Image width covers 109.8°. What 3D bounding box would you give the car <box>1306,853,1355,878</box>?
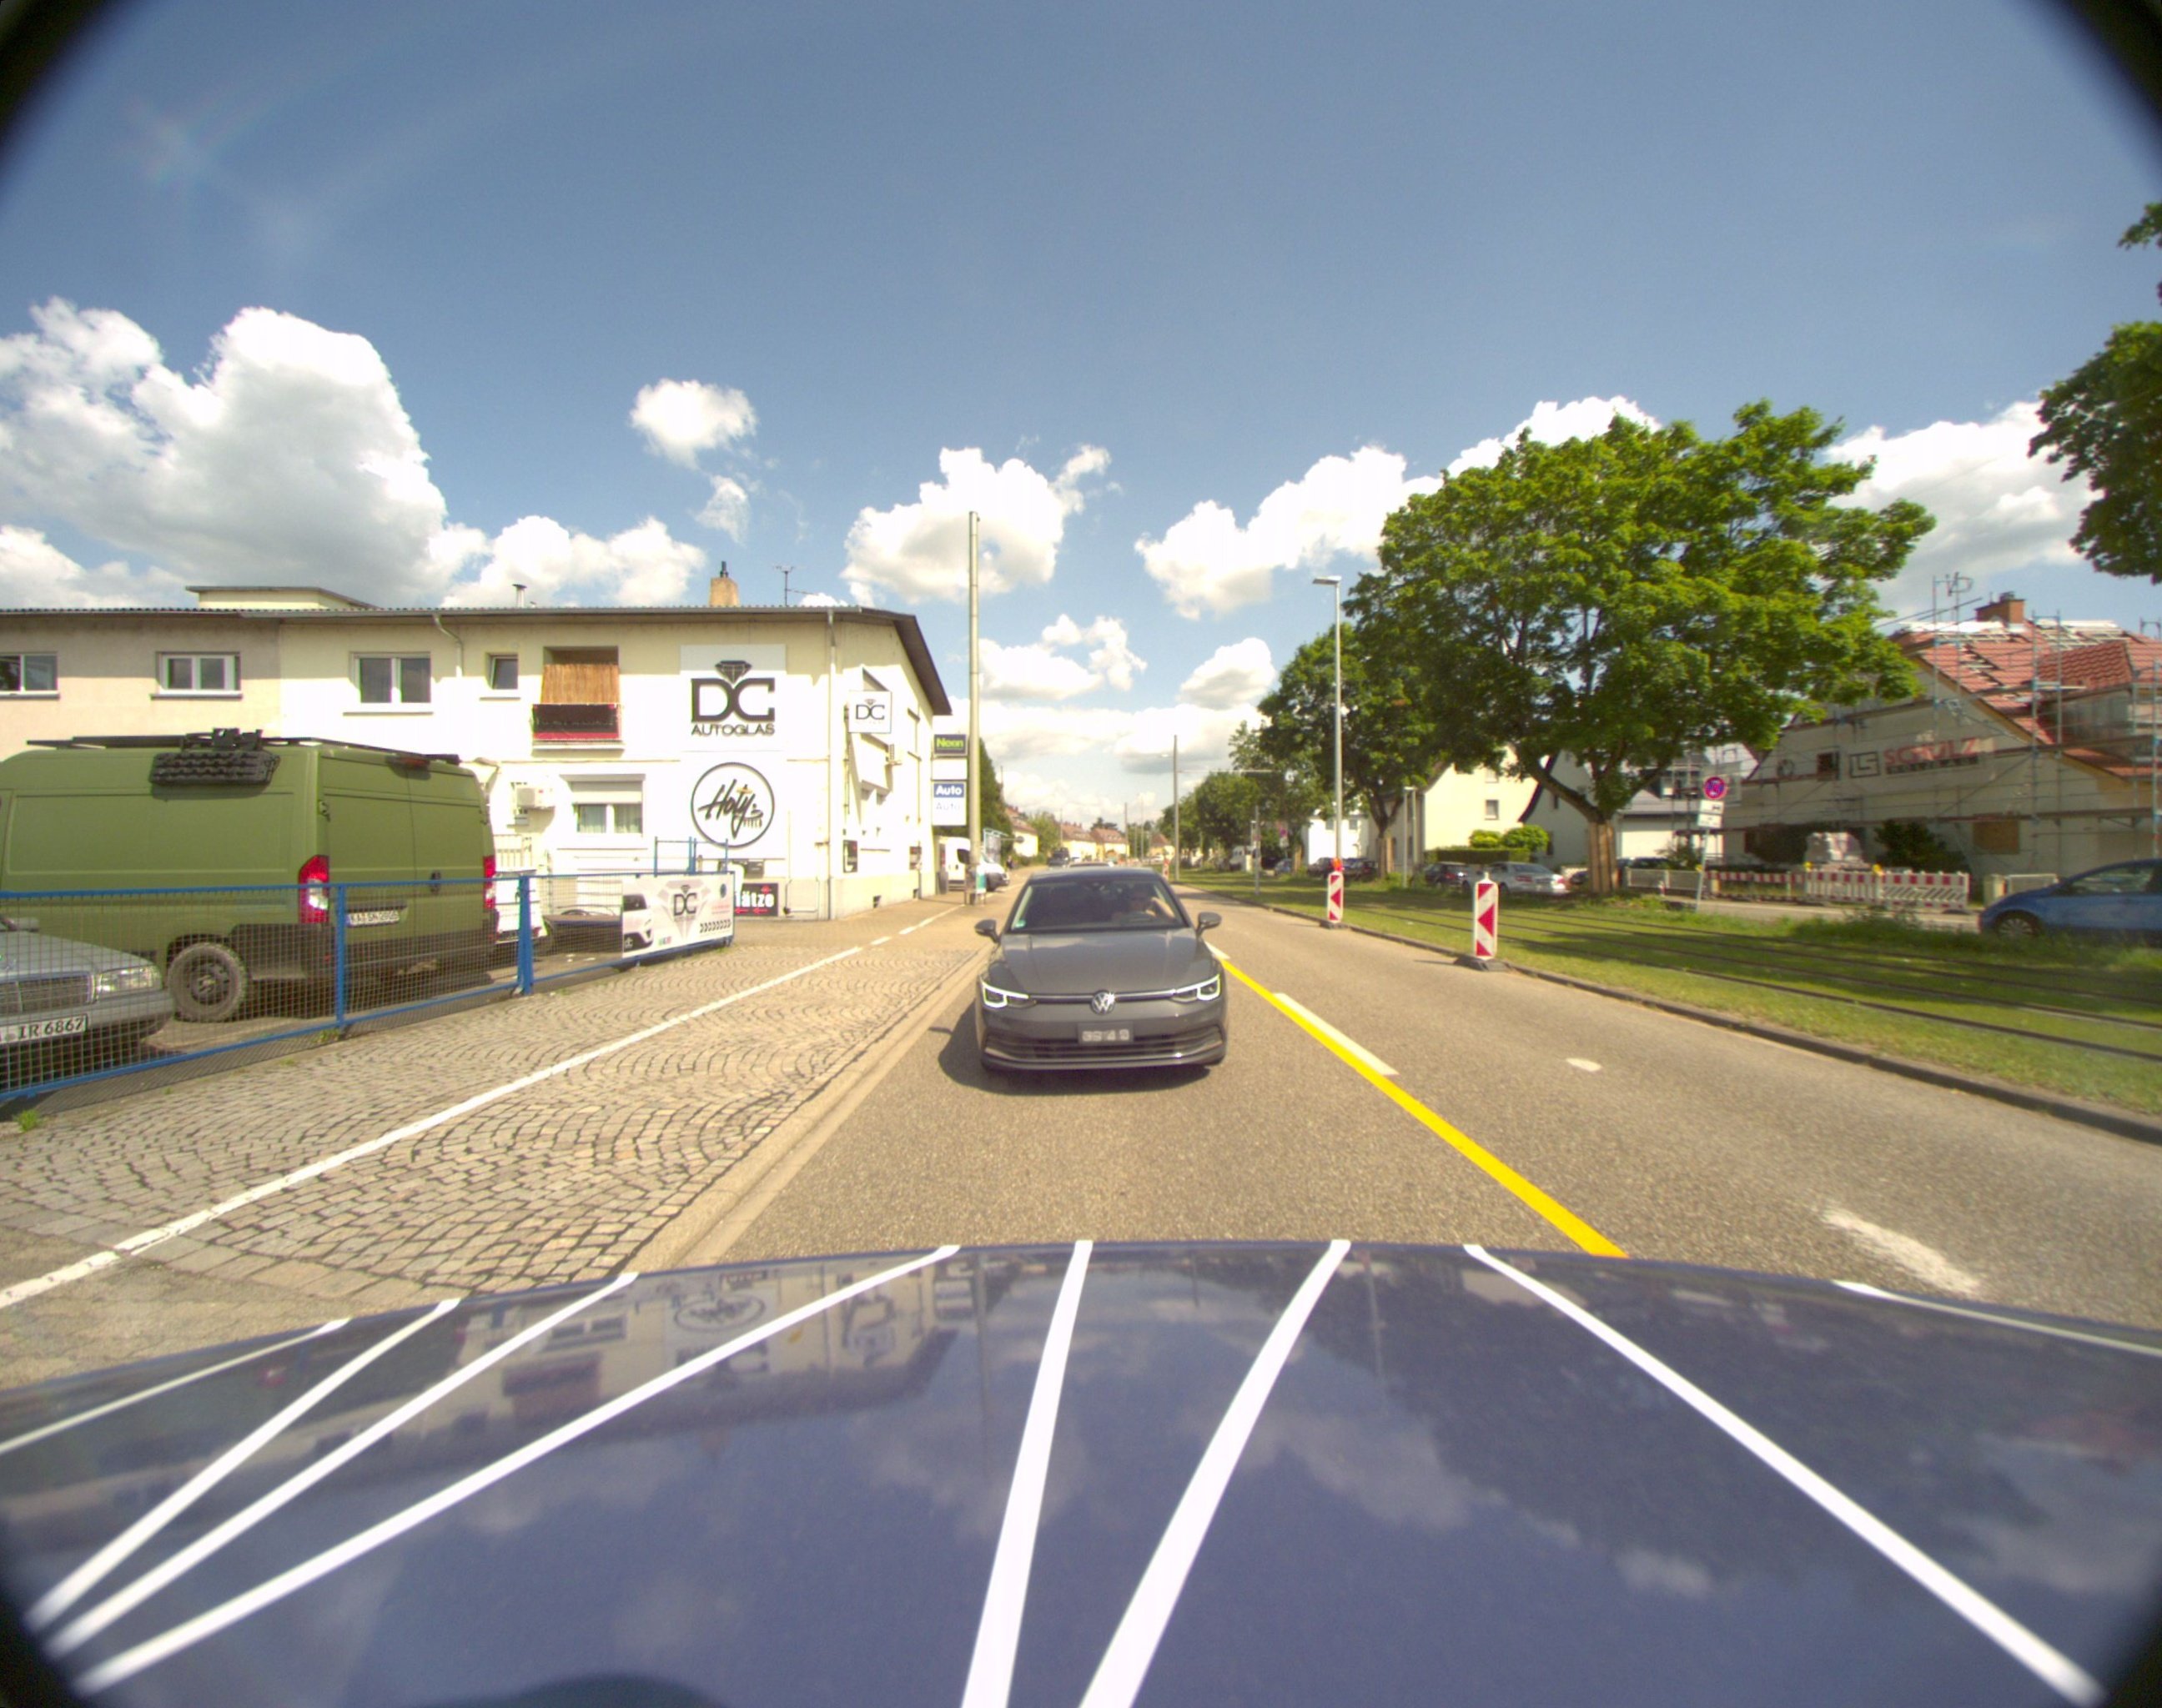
[{"bbox_3d":[16.672,0.763,50.908,1.755,1.602,4.606,0,0,0],"label":"car"}]

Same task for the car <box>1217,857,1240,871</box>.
[{"bbox_3d":[16.924,1.152,87.271,1.755,1.602,4.606,0,0,0],"label":"car"}]

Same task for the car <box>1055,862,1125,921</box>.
[{"bbox_3d":[0.265,0.988,21.492,1.787,1.470,4.009,0,0,1],"label":"car"}]

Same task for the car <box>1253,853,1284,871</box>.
[{"bbox_3d":[17.577,0.755,71.497,1.755,1.602,4.606,0,0,0],"label":"car"}]

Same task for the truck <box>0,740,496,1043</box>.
[{"bbox_3d":[-8.627,0.328,7.566,3.997,2.592,2.069,0,0,1],"label":"truck"}]

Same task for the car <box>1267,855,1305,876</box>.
[{"bbox_3d":[16.488,0.916,61.357,1.755,1.602,4.606,0,0,0],"label":"car"}]

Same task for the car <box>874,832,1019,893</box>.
[{"bbox_3d":[-5.937,0.380,33.979,5.982,2.362,2.000,3,0,3],"label":"car"}]

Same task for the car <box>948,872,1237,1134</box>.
[{"bbox_3d":[0.095,0.937,6.534,1.719,1.470,4.009,0,0,1],"label":"car"}]

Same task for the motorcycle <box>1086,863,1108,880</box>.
[{"bbox_3d":[1.097,1.199,53.397,0.887,1.164,2.898,0,0,-13],"label":"motorcycle"}]

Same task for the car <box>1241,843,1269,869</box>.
[{"bbox_3d":[17.638,0.197,77.077,1.755,2.601,4.606,0,0,0],"label":"car"}]

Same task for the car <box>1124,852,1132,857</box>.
[{"bbox_3d":[13.517,0.237,218.478,1.718,1.470,4.013,0,0,13],"label":"car"}]

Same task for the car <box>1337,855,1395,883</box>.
[{"bbox_3d":[16.895,0.850,45.268,1.755,1.602,4.606,0,0,0],"label":"car"}]

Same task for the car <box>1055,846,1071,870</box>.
[{"bbox_3d":[-1.926,0.411,82.849,1.720,2.526,5.794,0,0,0],"label":"car"}]

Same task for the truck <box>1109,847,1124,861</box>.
[{"bbox_3d":[9.392,0.023,201.135,2.590,3.431,8.585,0,0,11],"label":"truck"}]

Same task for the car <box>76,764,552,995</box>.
[{"bbox_3d":[-9.459,0.301,9.651,4.209,2.653,1.803,0,0,0],"label":"car"}]

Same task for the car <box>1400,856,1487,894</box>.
[{"bbox_3d":[16.584,0.916,35.030,1.755,1.602,4.606,0,0,0],"label":"car"}]

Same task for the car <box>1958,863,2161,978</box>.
[{"bbox_3d":[16.187,0.957,11.233,1.755,1.602,4.050,0,0,0],"label":"car"}]

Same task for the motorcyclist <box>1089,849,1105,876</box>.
[{"bbox_3d":[1.089,0.574,53.386,0.880,1.900,1.112,0,0,-13],"label":"motorcyclist"}]

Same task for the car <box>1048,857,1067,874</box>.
[{"bbox_3d":[-2.168,1.066,70.987,1.720,1.470,4.009,0,0,0],"label":"car"}]

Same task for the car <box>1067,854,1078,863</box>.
[{"bbox_3d":[-1.375,0.739,122.959,1.720,1.470,4.009,0,0,0],"label":"car"}]

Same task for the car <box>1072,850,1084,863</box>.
[{"bbox_3d":[-0.439,0.400,136.323,1.719,2.360,5.211,0,0,5],"label":"car"}]

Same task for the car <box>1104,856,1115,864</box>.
[{"bbox_3d":[4.731,0.974,124.749,1.719,1.405,4.262,0,0,1],"label":"car"}]

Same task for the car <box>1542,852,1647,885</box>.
[{"bbox_3d":[25.506,0.720,37.834,4.047,1.602,1.757,0,0,1],"label":"car"}]

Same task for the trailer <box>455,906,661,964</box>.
[{"bbox_3d":[-8.066,1.237,11.836,2.329,0.762,1.269,0,0,2],"label":"trailer"}]

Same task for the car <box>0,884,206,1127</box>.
[{"bbox_3d":[-8.441,0.917,4.810,4.206,1.388,1.804,0,0,8],"label":"car"}]

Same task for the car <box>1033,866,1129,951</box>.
[{"bbox_3d":[0.033,1.005,15.643,1.719,1.470,4.009,0,0,1],"label":"car"}]

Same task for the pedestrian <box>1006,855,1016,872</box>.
[{"bbox_3d":[-6.599,0.846,71.259,0.816,1.577,0.918,0,0,1],"label":"pedestrian"}]

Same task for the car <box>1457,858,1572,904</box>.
[{"bbox_3d":[16.383,0.964,29.008,1.755,1.602,4.606,0,0,0],"label":"car"}]

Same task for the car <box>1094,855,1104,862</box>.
[{"bbox_3d":[4.093,0.997,172.736,1.718,1.470,4.011,0,0,8],"label":"car"}]
